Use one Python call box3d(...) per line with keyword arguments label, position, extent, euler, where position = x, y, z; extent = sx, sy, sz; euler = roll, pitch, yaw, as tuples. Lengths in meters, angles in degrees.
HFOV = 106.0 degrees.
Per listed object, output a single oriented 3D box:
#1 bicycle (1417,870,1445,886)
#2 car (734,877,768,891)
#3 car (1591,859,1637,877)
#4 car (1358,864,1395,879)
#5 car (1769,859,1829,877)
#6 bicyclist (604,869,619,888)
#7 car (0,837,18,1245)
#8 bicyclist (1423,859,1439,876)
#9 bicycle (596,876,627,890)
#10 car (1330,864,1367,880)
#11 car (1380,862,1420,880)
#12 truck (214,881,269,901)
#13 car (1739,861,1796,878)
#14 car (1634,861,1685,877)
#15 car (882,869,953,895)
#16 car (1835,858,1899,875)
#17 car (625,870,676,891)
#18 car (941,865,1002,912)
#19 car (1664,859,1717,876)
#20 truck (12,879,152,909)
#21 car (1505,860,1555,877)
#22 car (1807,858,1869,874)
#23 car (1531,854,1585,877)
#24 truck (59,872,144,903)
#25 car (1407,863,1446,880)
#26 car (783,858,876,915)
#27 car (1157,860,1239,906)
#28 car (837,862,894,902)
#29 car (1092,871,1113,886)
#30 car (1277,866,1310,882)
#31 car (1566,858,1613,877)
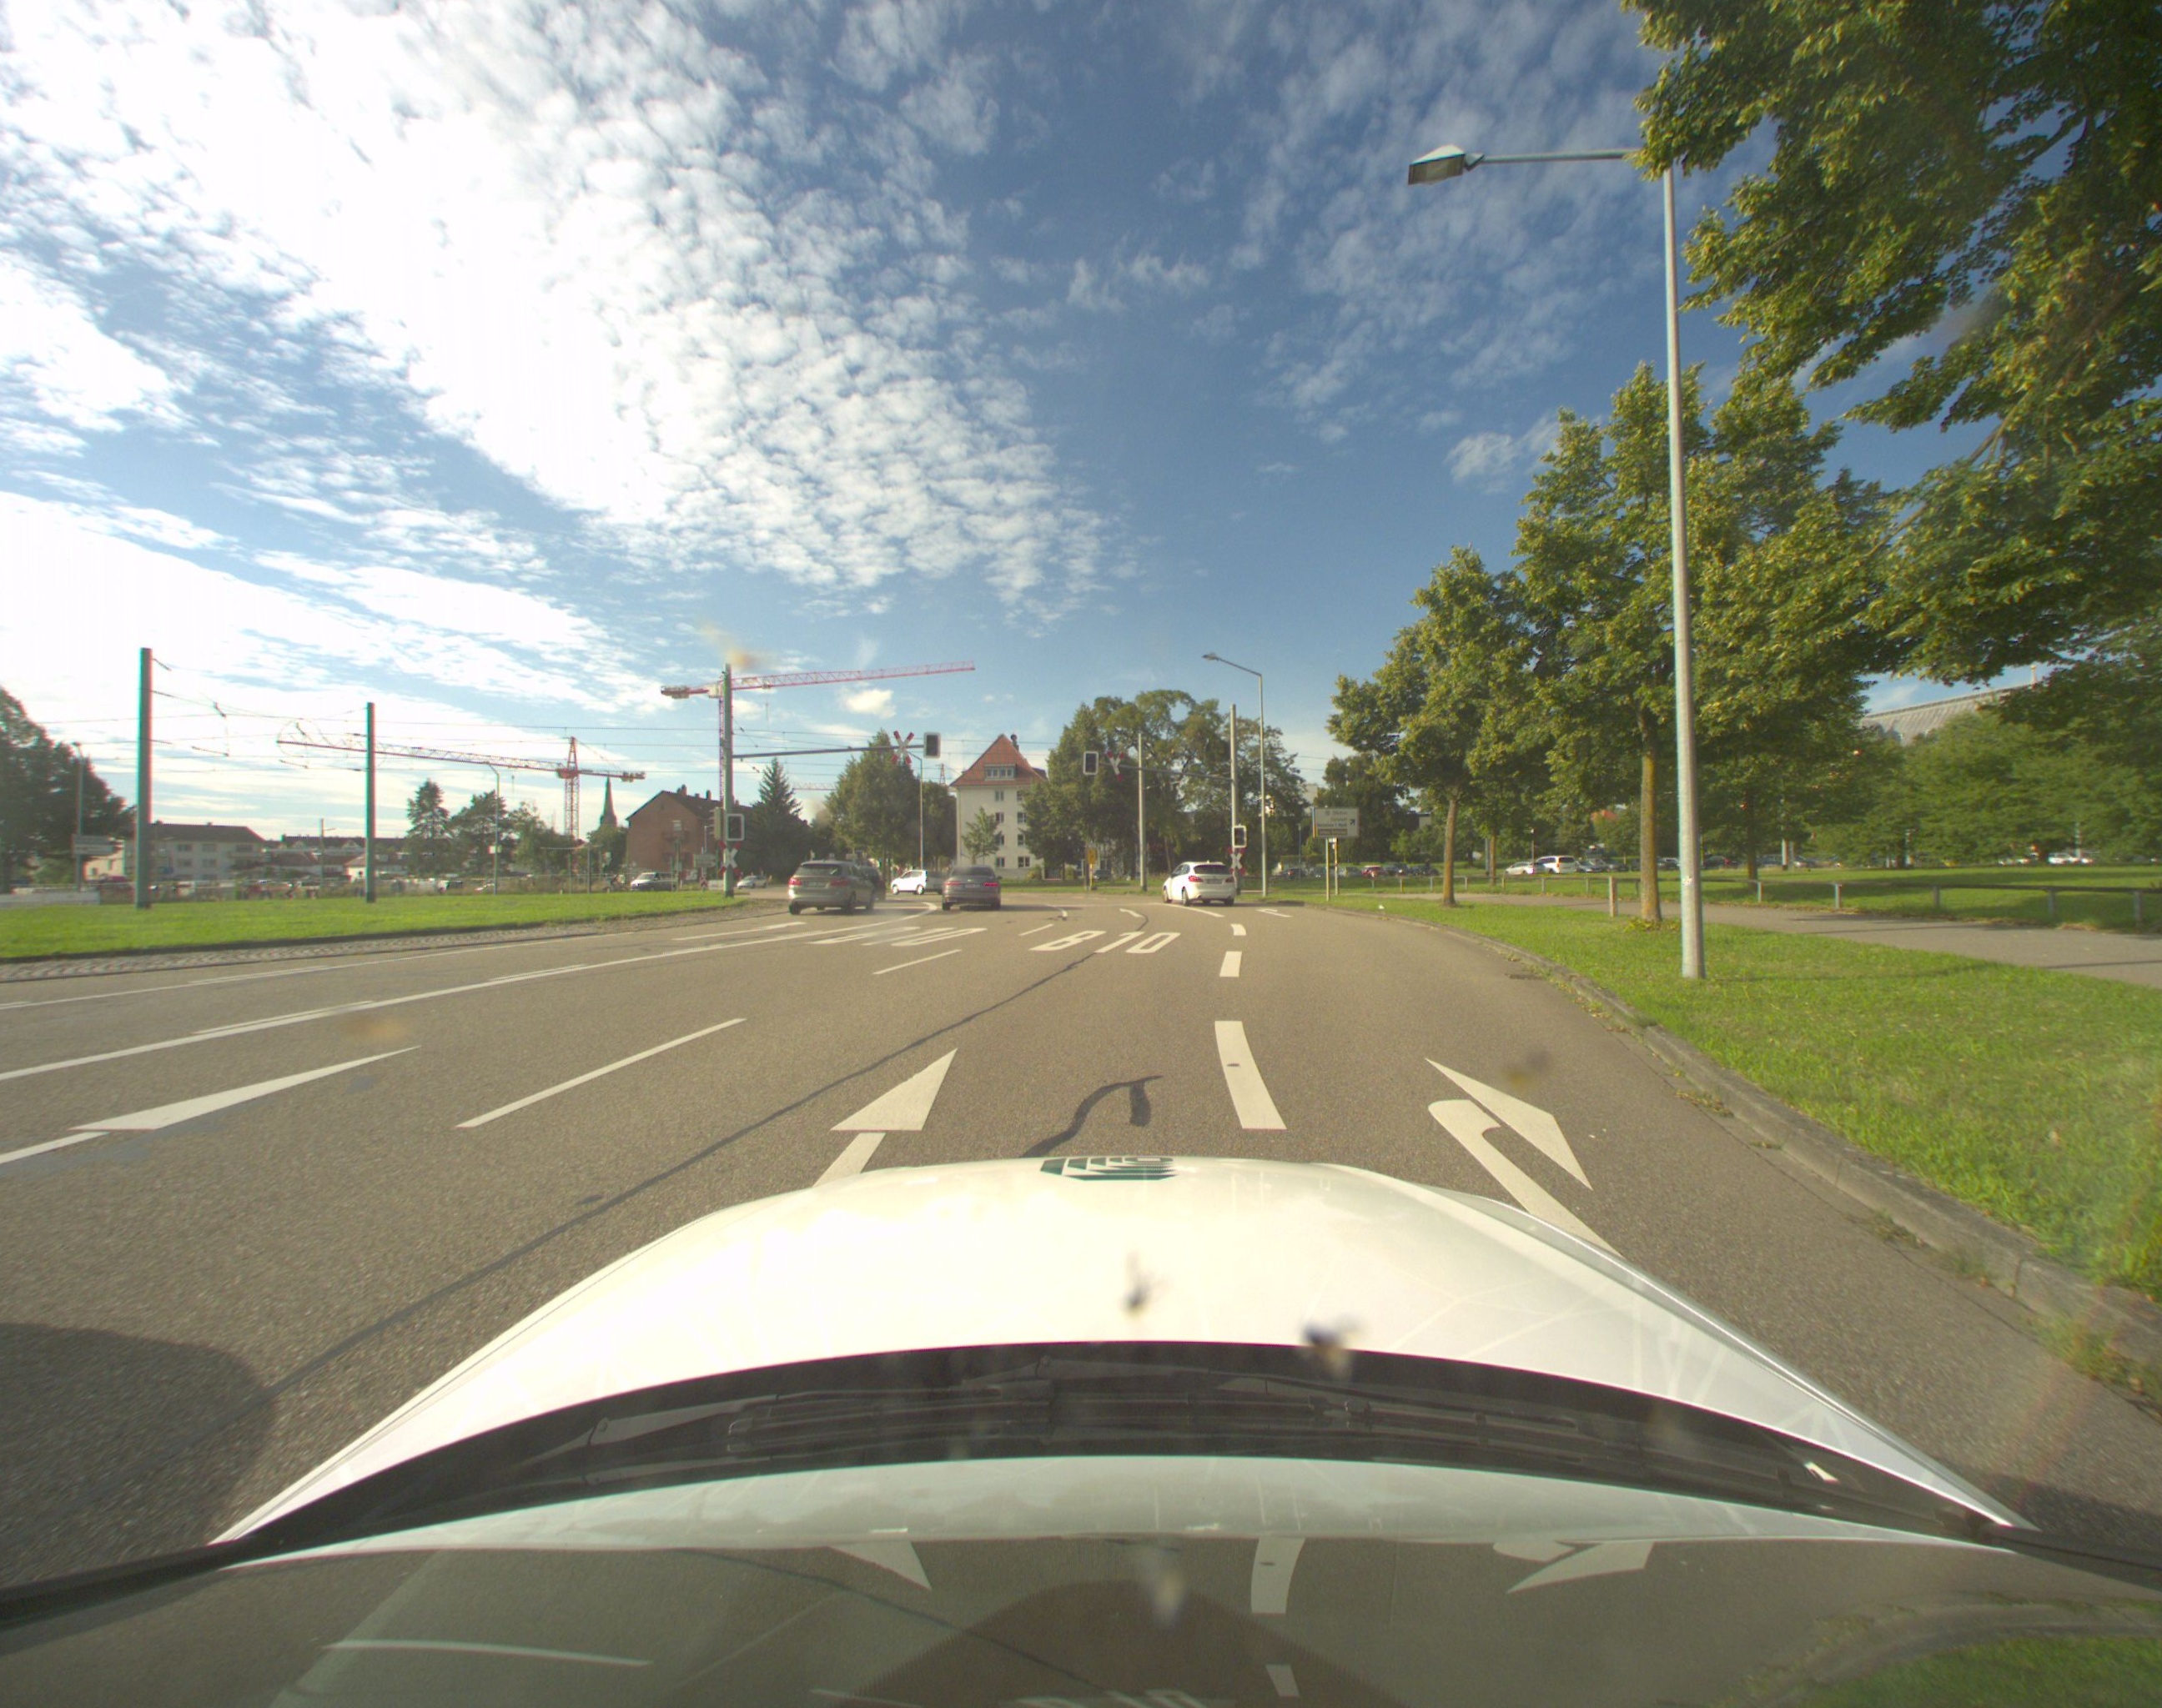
box3d(label="bicycle", position=(28.459, 1.916, 66.263), extent=(2.536, 1.222, 0.707), euler=(-1, -1, -31))
box3d(label="car", position=(-37.573, 3.365, 92.734), extent=(1.889, 1.543, 4.660), euler=(0, -2, 1))
box3d(label="car", position=(49.653, 1.322, 75.987), extent=(2.018, 1.515, 4.122), euler=(-1, -1, 9))
box3d(label="car", position=(27.430, 1.617, 75.798), extent=(1.848, 1.363, 4.469), euler=(-1, -1, 1))
box3d(label="car", position=(67.102, 1.326, 76.205), extent=(1.845, 1.541, 4.474), euler=(-1, -1, 4))
box3d(label="bicyclist", position=(-39.411, 2.072, 68.386), extent=(0.960, 1.575, 0.767), euler=(-1, -1, -21))
box3d(label="car", position=(-4.561, 0.672, 0.327), extent=(1.989, 1.566, 4.838), euler=(1, -1, -4))
box3d(label="bicyclist", position=(28.508, 1.112, 66.337), extent=(1.009, 1.355, 0.707), euler=(-1, -1, -31))
box3d(label="bicycle", position=(-39.393, 2.419, 68.383), extent=(2.151, 1.137, 0.767), euler=(-2, -1, -21))
box3d(label="car", position=(24.887, 1.665, 75.912), extent=(1.848, 1.358, 4.834), euler=(-1, -1, 1))
box3d(label="car", position=(29.555, 1.592, 75.628), extent=(1.848, 1.515, 4.945), euler=(-1, -1, 1))
box3d(label="truck", position=(-102.628, 4.528, 99.601), extent=(5.580, 2.328, 2.071), euler=(-1, -2, 13))
box3d(label="car", position=(64.522, 1.506, 76.641), extent=(1.789, 1.515, 4.474), euler=(-1, -1, 4))
box3d(label="car", position=(54.050, 1.390, 76.156), extent=(1.846, 1.399, 4.474), euler=(-1, -1, 4))
box3d(label="car", position=(-9.609, 1.617, 47.705), extent=(4.399, 1.426, 1.867), euler=(-2, -2, 44))
box3d(label="car", position=(73.626, 1.162, 76.359), extent=(1.845, 1.541, 4.474), euler=(-1, -1, 4))
box3d(label="car", position=(-39.510, 2.428, 74.855), extent=(1.887, 1.903, 4.666), euler=(0, -2, 4))
box3d(label="car", position=(-3.666, 1.135, 27.391), extent=(1.849, 1.445, 4.702), euler=(0, -2, -7))
box3d(label="car", position=(56.767, 1.298, 75.941), extent=(1.846, 1.504, 4.474), euler=(-1, -1, 4))
box3d(label="truck", position=(-95.525, 3.755, 78.097), extent=(3.040, 2.567, 7.895), euler=(-2, -2, 18))
box3d(label="car", position=(41.612, 1.371, 75.628), extent=(1.853, 1.515, 4.458), euler=(-1, -1, -6))
box3d(label="car", position=(71.002, 1.171, 76.508), extent=(1.845, 1.454, 4.474), euler=(-1, -1, 4))
box3d(label="car", position=(44.381, 1.097, 75.940), extent=(2.299, 2.007, 5.118), euler=(-1, -1, 4))
box3d(label="truck", position=(-105.420, 3.623, 87.654), extent=(7.240, 3.207, 2.827), euler=(-1, -2, 13))
box3d(label="car", position=(32.148, 1.664, 75.879), extent=(1.848, 1.515, 4.469), euler=(-1, -1, 1))
box3d(label="car", position=(-7.487, 0.957, 24.660), extent=(1.764, 1.572, 4.061), euler=(0, -2, -4))
box3d(label="car", position=(4.218, 1.063, 30.079), extent=(1.849, 1.572, 4.442), euler=(0, -2, -8))
box3d(label="car", position=(-8.935, 1.159, 33.521), extent=(1.999, 1.541, 3.974), euler=(2, -2, -19))
box3d(label="car", position=(1.979, 2.240, 75.047), extent=(1.848, 1.381, 4.515), euler=(-1, -1, 1))
box3d(label="car", position=(19.623, 1.852, 75.378), extent=(1.848, 1.359, 4.734), euler=(-1, -1, 1))
box3d(label="car", position=(47.453, 1.282, 76.134), extent=(2.084, 1.674, 4.480), euler=(-1, -1, 9))
